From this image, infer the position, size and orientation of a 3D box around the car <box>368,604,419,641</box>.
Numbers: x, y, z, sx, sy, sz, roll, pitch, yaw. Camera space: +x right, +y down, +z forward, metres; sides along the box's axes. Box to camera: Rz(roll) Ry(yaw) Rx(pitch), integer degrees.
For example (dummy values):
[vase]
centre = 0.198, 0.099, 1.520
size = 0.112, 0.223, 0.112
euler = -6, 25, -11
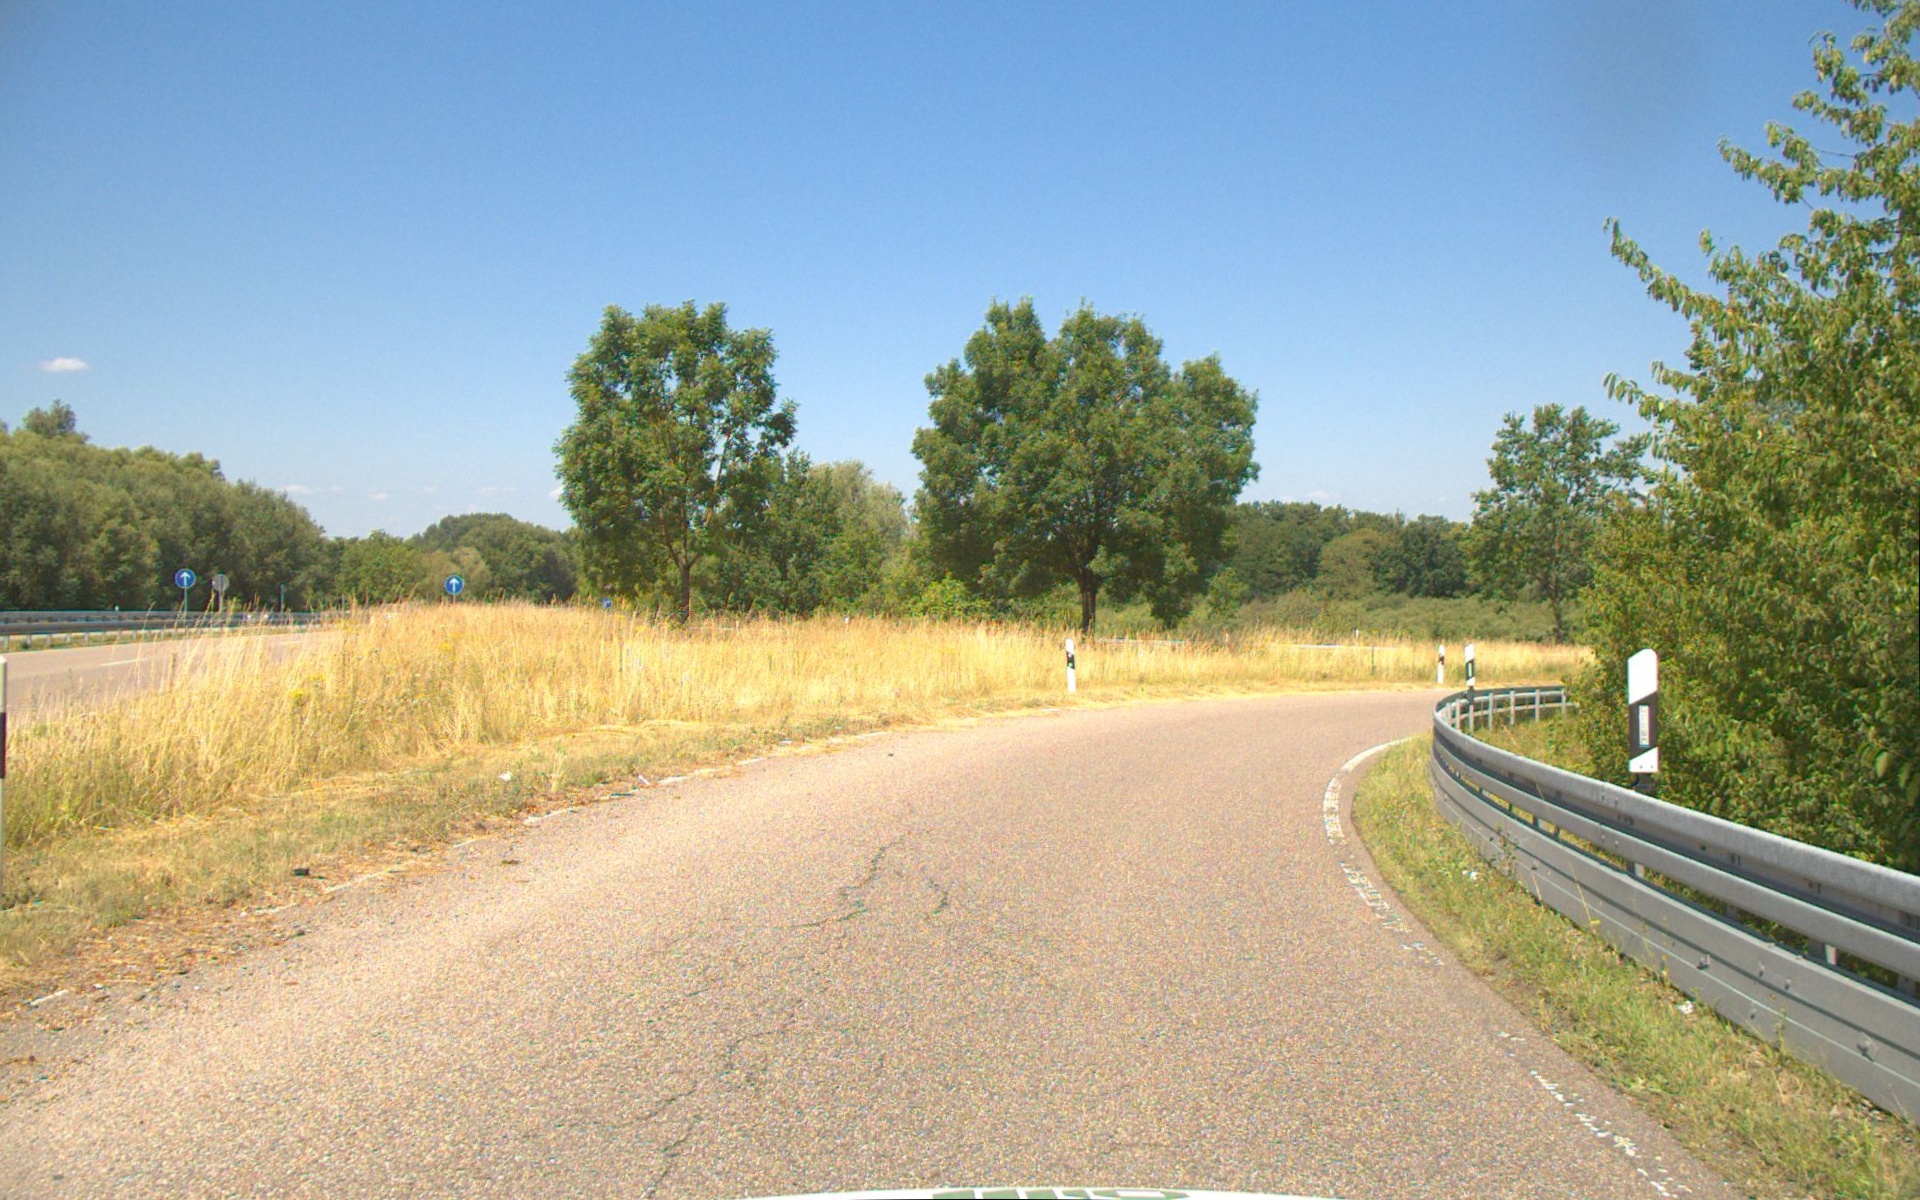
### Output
[car]
centre = -27.803, 1.081, 81.256
size = 2.001, 1.702, 3.985
euler = 2, -1, -14
